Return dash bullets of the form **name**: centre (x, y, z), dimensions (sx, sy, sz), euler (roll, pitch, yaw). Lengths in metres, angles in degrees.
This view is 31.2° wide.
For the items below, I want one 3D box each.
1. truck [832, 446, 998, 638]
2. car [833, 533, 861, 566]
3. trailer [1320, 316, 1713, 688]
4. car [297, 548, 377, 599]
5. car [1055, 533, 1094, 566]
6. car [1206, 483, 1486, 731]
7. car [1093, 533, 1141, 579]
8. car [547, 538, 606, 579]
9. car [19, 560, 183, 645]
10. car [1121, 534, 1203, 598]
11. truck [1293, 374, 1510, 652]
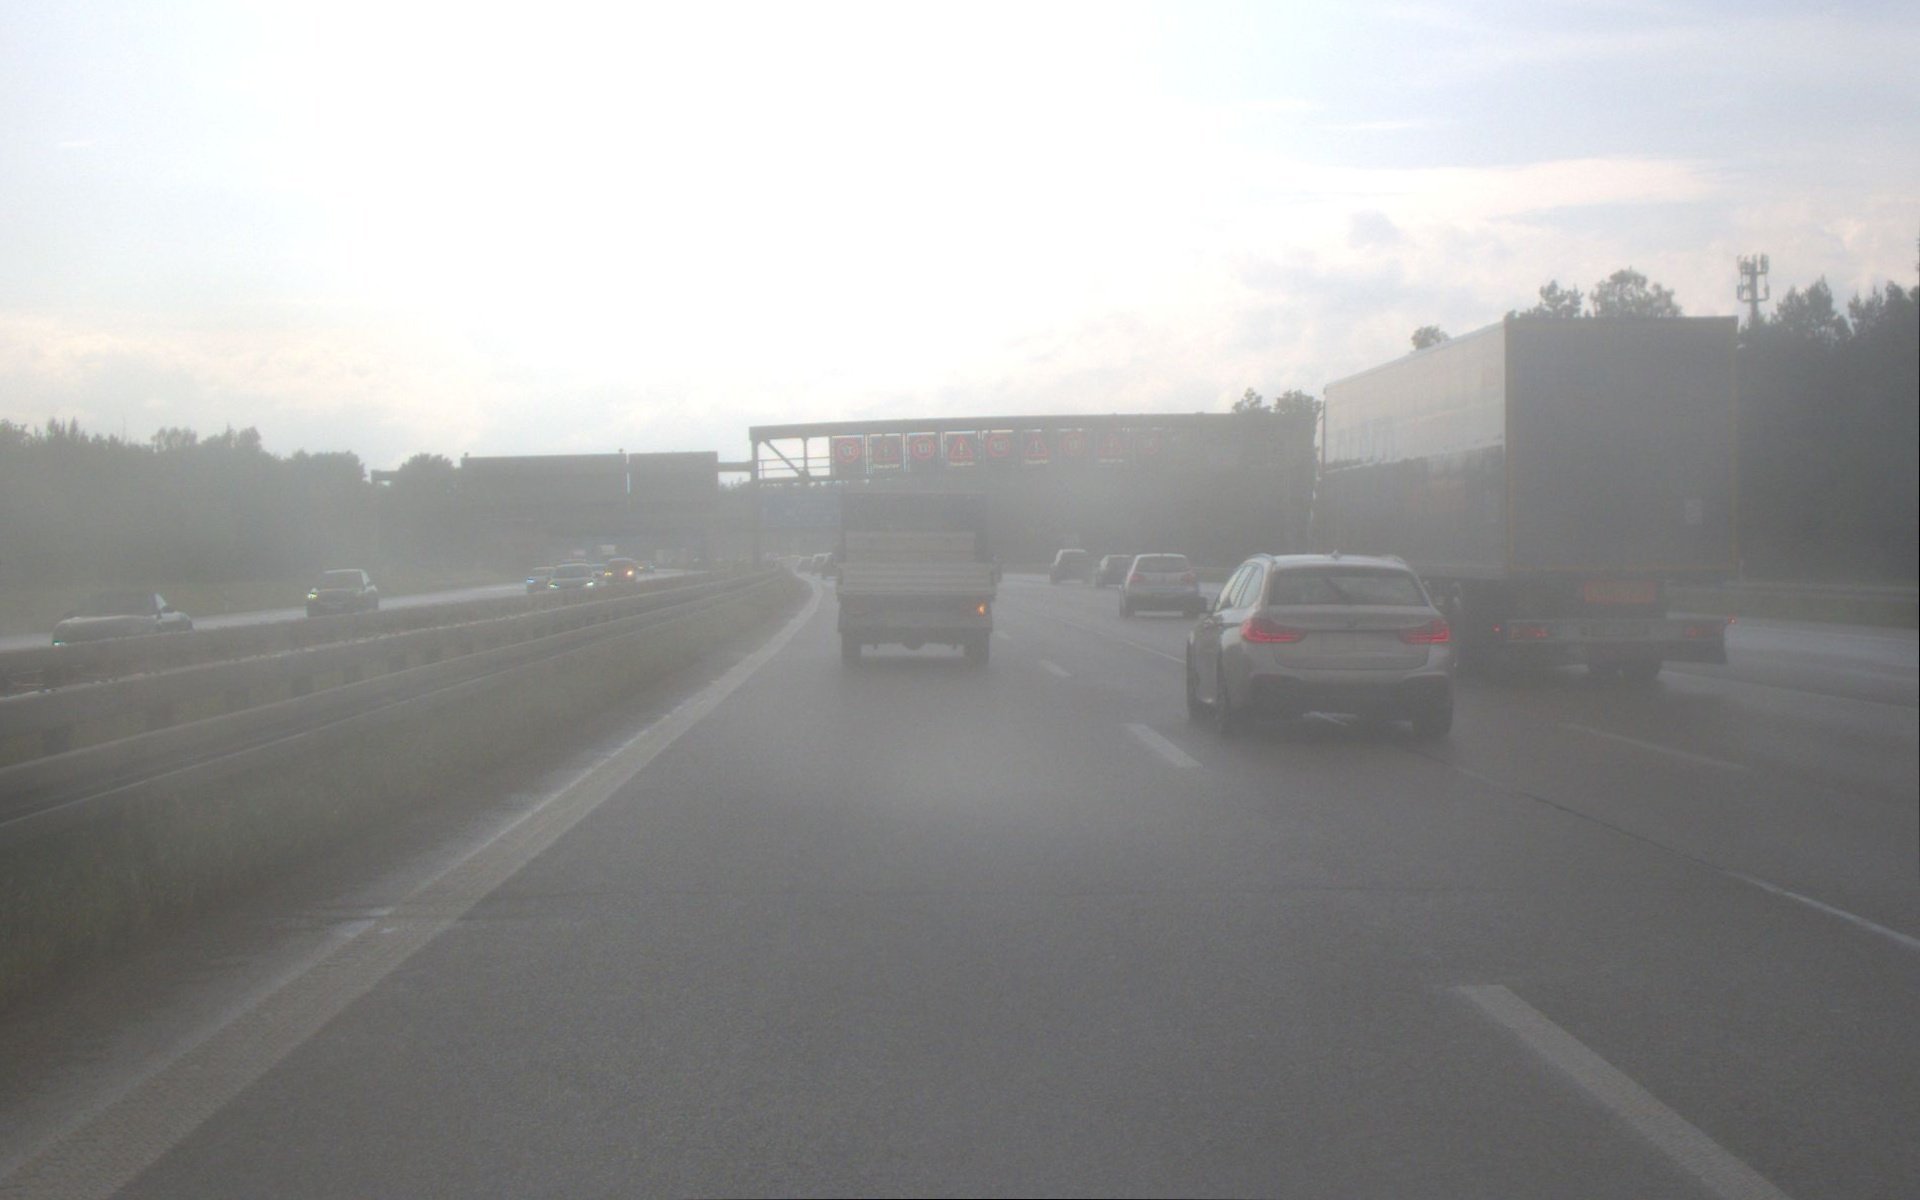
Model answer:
- **truck**: centre (-0.565, -0.809, 47.017), dimensions (2.137, 2.480, 5.313), euler (0, 1, 0)
- **car**: centre (-7.002, -3.135, 212.671), dimensions (1.617, 2.007, 4.001), euler (1, 1, -2)
- **trailer**: centre (6.683, -1.174, 43.653), dimensions (2.323, 3.988, 13.413), euler (0, 1, -2)
- **car**: centre (-19.167, -0.833, 105.843), dimensions (1.874, 1.467, 4.001), euler (-2, 1, -3)
- **car**: centre (5.862, -2.592, 176.617), dimensions (1.740, 1.683, 4.001), euler (0, 1, -2)
- **car**: centre (3.140, 0.004, 28.906), dimensions (2.078, 1.878, 5.011), euler (1, 1, 4)
- **car**: centre (7.050, -1.988, 154.434), dimensions (1.993, 2.007, 4.000), euler (1, 1, 1)
- **car**: centre (-14.063, -1.531, 126.076), dimensions (1.874, 1.426, 4.001), euler (-1, 1, -3)
- **car**: centre (-14.860, 0.017, 59.683), dimensions (1.697, 1.320, 4.668), euler (-2, 1, -1)
- **car**: centre (4.724, -0.821, 80.684), dimensions (1.831, 1.461, 4.000), euler (0, 1, 2)
- **truck**: centre (6.399, -1.253, 50.458), dimensions (2.293, 3.854, 5.393), euler (0, 1, -2)
